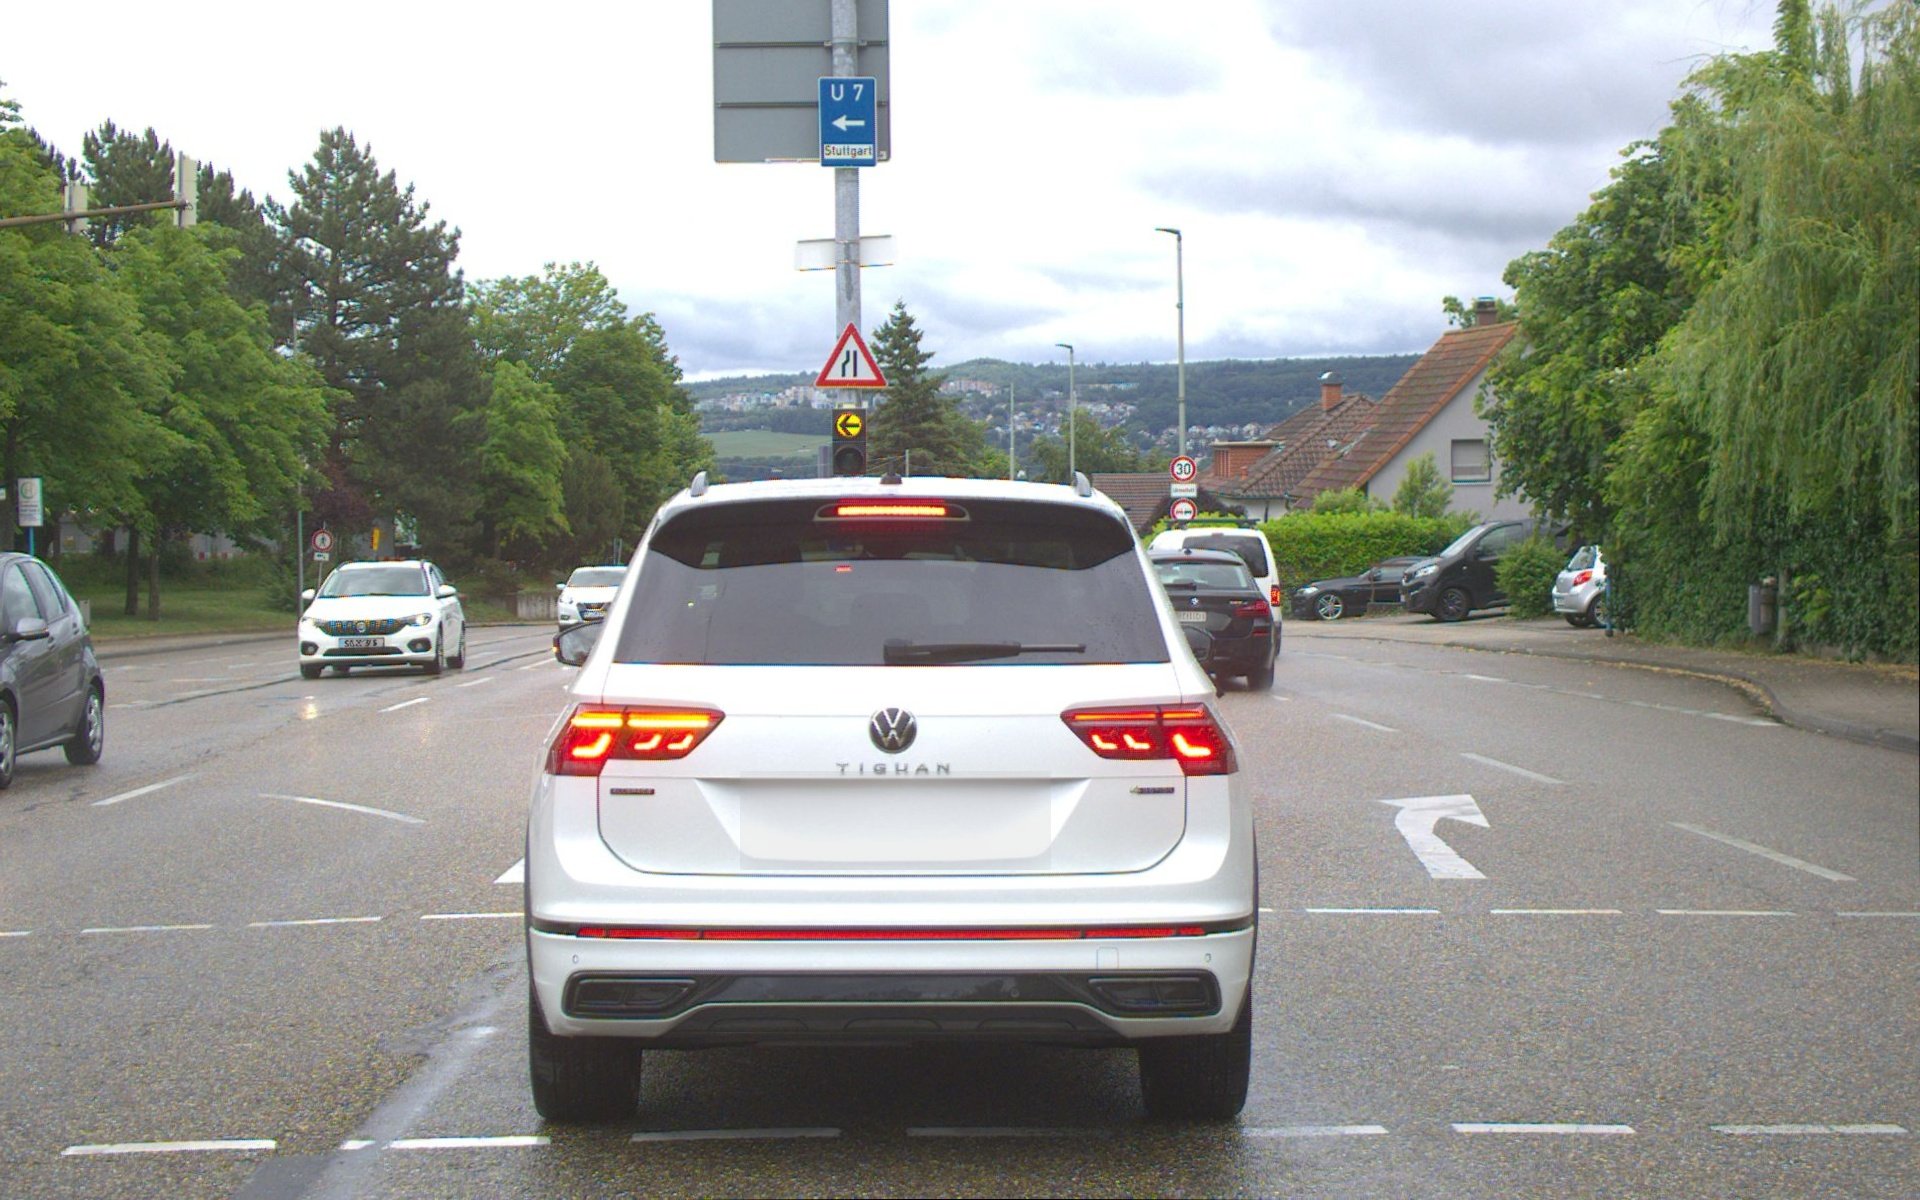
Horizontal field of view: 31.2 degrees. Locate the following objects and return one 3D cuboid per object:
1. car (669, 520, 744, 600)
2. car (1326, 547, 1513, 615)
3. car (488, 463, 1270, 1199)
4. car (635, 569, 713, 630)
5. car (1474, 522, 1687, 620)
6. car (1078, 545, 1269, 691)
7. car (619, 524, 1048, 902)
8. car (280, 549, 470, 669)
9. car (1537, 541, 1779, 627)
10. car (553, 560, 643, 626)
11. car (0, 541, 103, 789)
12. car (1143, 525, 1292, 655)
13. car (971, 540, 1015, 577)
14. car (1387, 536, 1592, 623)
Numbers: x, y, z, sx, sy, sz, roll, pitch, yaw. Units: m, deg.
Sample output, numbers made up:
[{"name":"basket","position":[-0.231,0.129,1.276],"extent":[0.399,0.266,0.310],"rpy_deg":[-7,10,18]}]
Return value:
[{"name":"car","position":[-8.276,-1.346,112.695],"extent":[2.297,2.519,5.774],"rpy_deg":[-1,1,-3]},{"name":"car","position":[9.610,-0.391,72.026],"extent":[3.687,1.365,1.519],"rpy_deg":[0,-1,-2]},{"name":"car","position":[-0.230,0.493,9.929],"extent":[1.763,1.690,4.273],"rpy_deg":[0,1,-1]},{"name":"car","position":[-7.644,-0.030,92.073],"extent":[1.776,1.497,4.472],"rpy_deg":[-2,1,-1]},{"name":"car","position":[11.671,-0.557,64.809],"extent":[3.627,1.740,1.708],"rpy_deg":[0,4,-4]},{"name":"car","position":[2.223,0.153,36.690],"extent":[1.680,1.455,3.802],"rpy_deg":[1,1,-2]},{"name":"car","position":[-0.533,0.438,16.417],"extent":[1.798,1.584,3.926],"rpy_deg":[0,1,0]},{"name":"car","position":[-7.634,0.079,45.197],"extent":[1.967,1.449,4.309],"rpy_deg":[1,1,-3]},{"name":"car","position":[12.041,-0.274,59.392],"extent":[3.713,1.390,1.729],"rpy_deg":[-1,0,-7]},{"name":"car","position":[-8.055,-0.178,76.796],"extent":[1.746,1.392,3.802],"rpy_deg":[-1,1,-2]},{"name":"car","position":[-7.124,0.412,23.581],"extent":[1.699,1.593,3.550],"rpy_deg":[-1,1,-2]},{"name":"car","position":[3.615,-0.173,48.816],"extent":[1.712,1.752,3.802],"rpy_deg":[-1,1,-2]},{"name":"car","position":[1.413,-1.807,148.724],"extent":[1.850,1.569,4.000],"rpy_deg":[-1,1,0]},{"name":"car","position":[10.329,-0.409,67.187],"extent":[3.627,1.620,1.792],"rpy_deg":[0,2,-4]}]
